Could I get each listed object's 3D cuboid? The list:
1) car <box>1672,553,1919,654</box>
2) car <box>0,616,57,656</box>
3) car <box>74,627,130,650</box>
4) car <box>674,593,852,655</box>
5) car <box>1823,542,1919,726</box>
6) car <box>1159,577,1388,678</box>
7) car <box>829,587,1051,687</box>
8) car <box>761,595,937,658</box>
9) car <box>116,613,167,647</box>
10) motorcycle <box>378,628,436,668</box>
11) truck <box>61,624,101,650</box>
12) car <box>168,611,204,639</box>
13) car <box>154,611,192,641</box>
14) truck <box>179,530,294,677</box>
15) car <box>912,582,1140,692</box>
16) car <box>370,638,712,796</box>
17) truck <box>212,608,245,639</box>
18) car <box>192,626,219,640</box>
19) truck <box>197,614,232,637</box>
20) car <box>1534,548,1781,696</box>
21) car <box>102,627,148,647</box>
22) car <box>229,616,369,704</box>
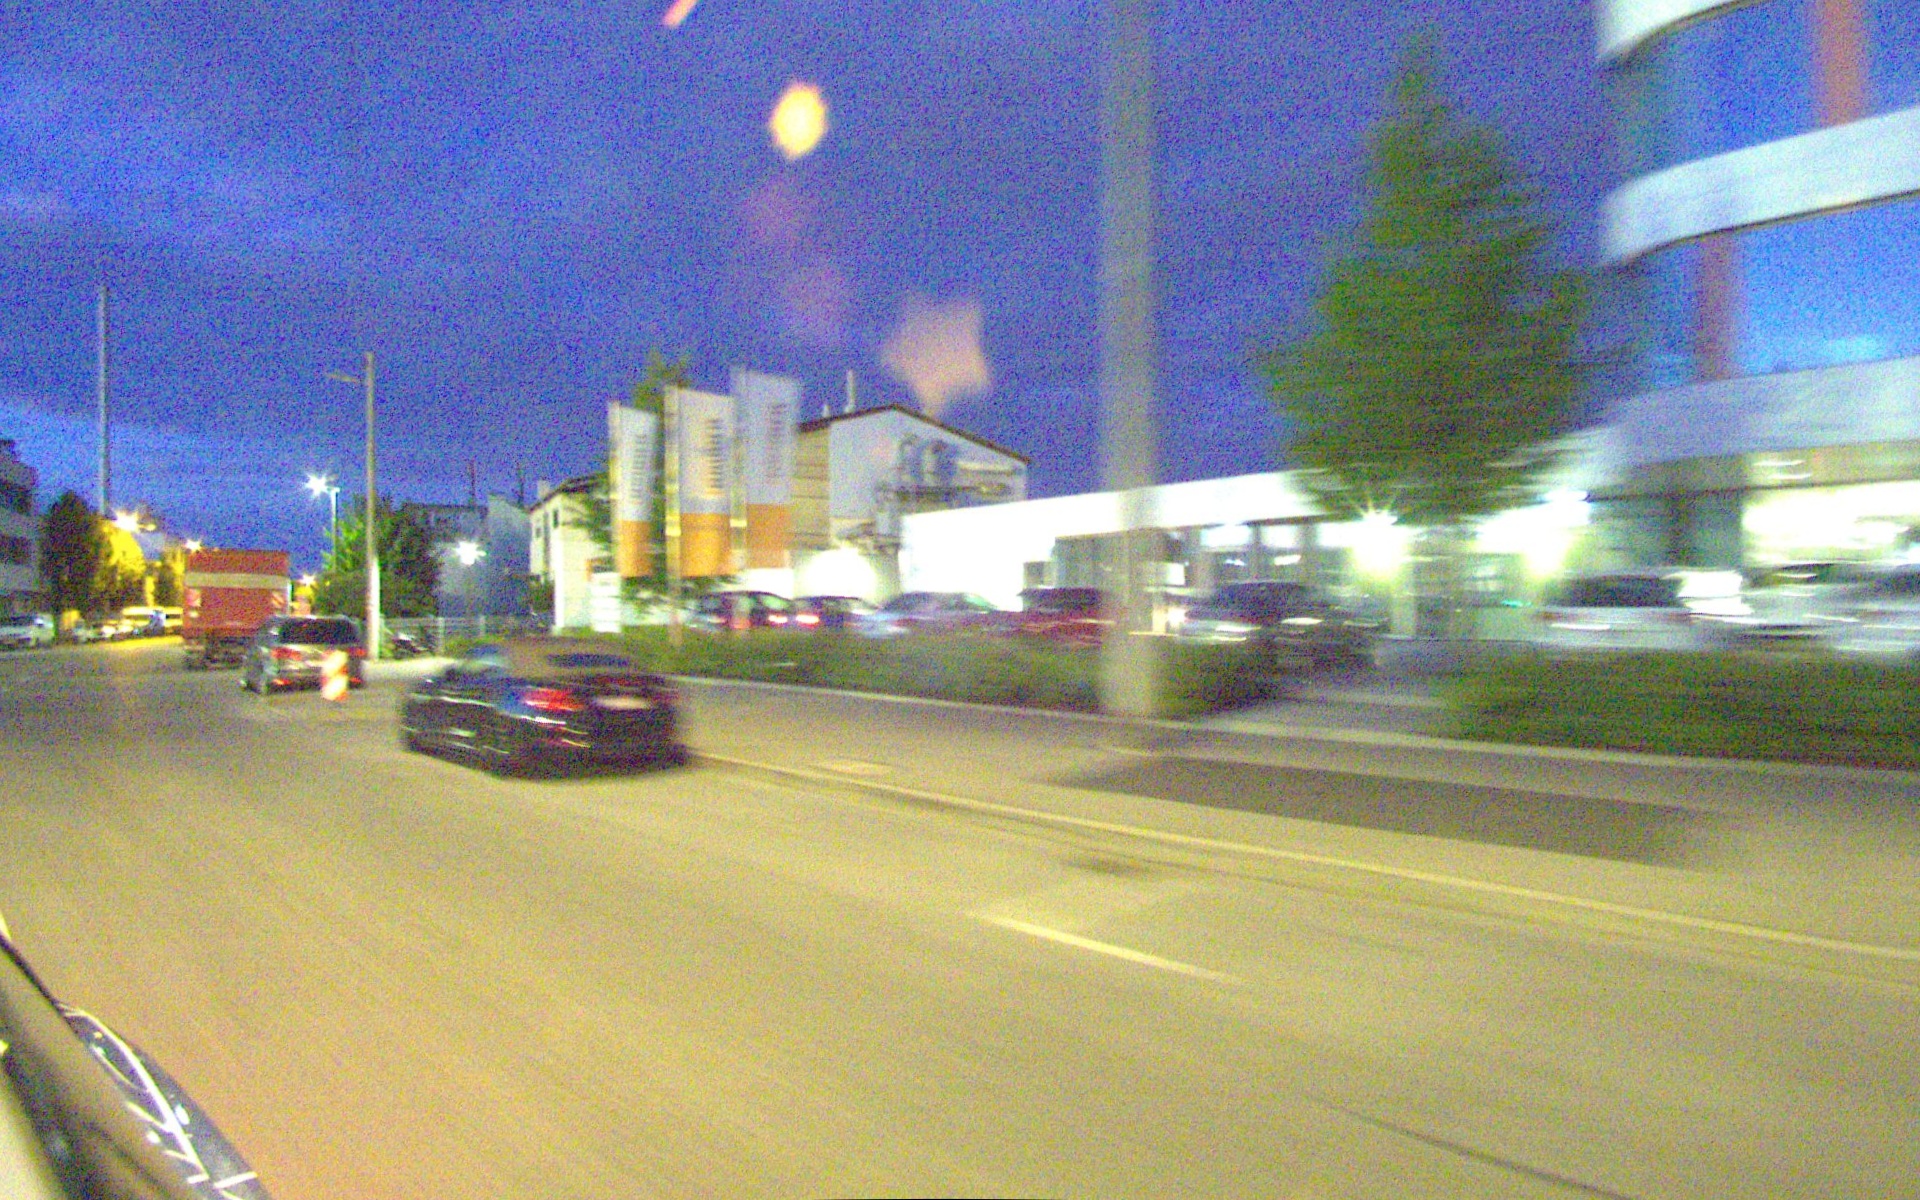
[{"bbox_3d":[15.531,0.073,18.182,4.204,1.654,1.971,-2,0,44],"label":"car"},{"bbox_3d":[-50.119,1.914,53.937,1.966,2.029,4.927,0,-1,-30],"label":"car"},{"bbox_3d":[-59.794,2.637,70.648,1.919,1.500,5.026,-1,-1,-28],"label":"car"},{"bbox_3d":[-5.157,0.599,26.915,1.892,1.493,4.356,-2,-1,43],"label":"car"},{"bbox_3d":[10.471,0.289,10.688,1.962,1.694,4.358,-2,-1,42],"label":"car"},{"bbox_3d":[5.132,0.382,16.234,1.828,1.404,4.219,-2,-1,43],"label":"car"},{"bbox_3d":[-0.302,0.684,20.986,1.963,1.829,4.556,-2,-1,43],"label":"car"},{"bbox_3d":[-2.760,0.640,26.014,1.828,1.463,4.356,-2,-1,43],"label":"car"},{"bbox_3d":[-66.273,2.393,82.052,1.966,2.544,5.928,-4,1,-28],"label":"car"},{"bbox_3d":[-17.720,1.522,32.468,0.528,1.109,1.681,-1,2,21],"label":"motorcycle"},{"bbox_3d":[-57.654,2.401,66.407,1.351,1.657,3.823,0,-1,-31],"label":"truck"},{"bbox_3d":[-76.573,2.487,100.192,1.966,2.590,6.032,-4,1,-30],"label":"car"},{"bbox_3d":[-73.117,2.386,94.078,2.099,2.590,5.925,-4,1,-33],"label":"car"},{"bbox_3d":[-23.863,0.184,33.257,2.736,4.151,9.361,0,-1,-37],"label":"truck"},{"bbox_3d":[1.341,0.643,19.050,1.963,1.829,4.356,-2,-1,43],"label":"car"},{"bbox_3d":[-4.752,1.129,11.155,4.360,1.382,1.794,-2,-3,43],"label":"car"},{"bbox_3d":[-92.819,2.919,128.406,2.727,3.792,5.244,-2,0,-29],"label":"truck"},{"bbox_3d":[-84.055,3.685,112.741,1.804,1.418,4.923,-4,1,-30],"label":"car"},{"bbox_3d":[-88.045,2.973,119.573,2.368,2.614,6.617,-1,-1,-28],"label":"truck"},{"bbox_3d":[8.683,0.220,12.431,1.851,1.490,4.356,-2,-1,43],"label":"car"},{"bbox_3d":[-62.908,2.794,76.330,1.744,1.423,4.564,-1,-1,-28],"label":"car"},{"bbox_3d":[-13.898,1.170,21.167,1.843,1.605,4.501,0,-1,-41],"label":"car"}]
